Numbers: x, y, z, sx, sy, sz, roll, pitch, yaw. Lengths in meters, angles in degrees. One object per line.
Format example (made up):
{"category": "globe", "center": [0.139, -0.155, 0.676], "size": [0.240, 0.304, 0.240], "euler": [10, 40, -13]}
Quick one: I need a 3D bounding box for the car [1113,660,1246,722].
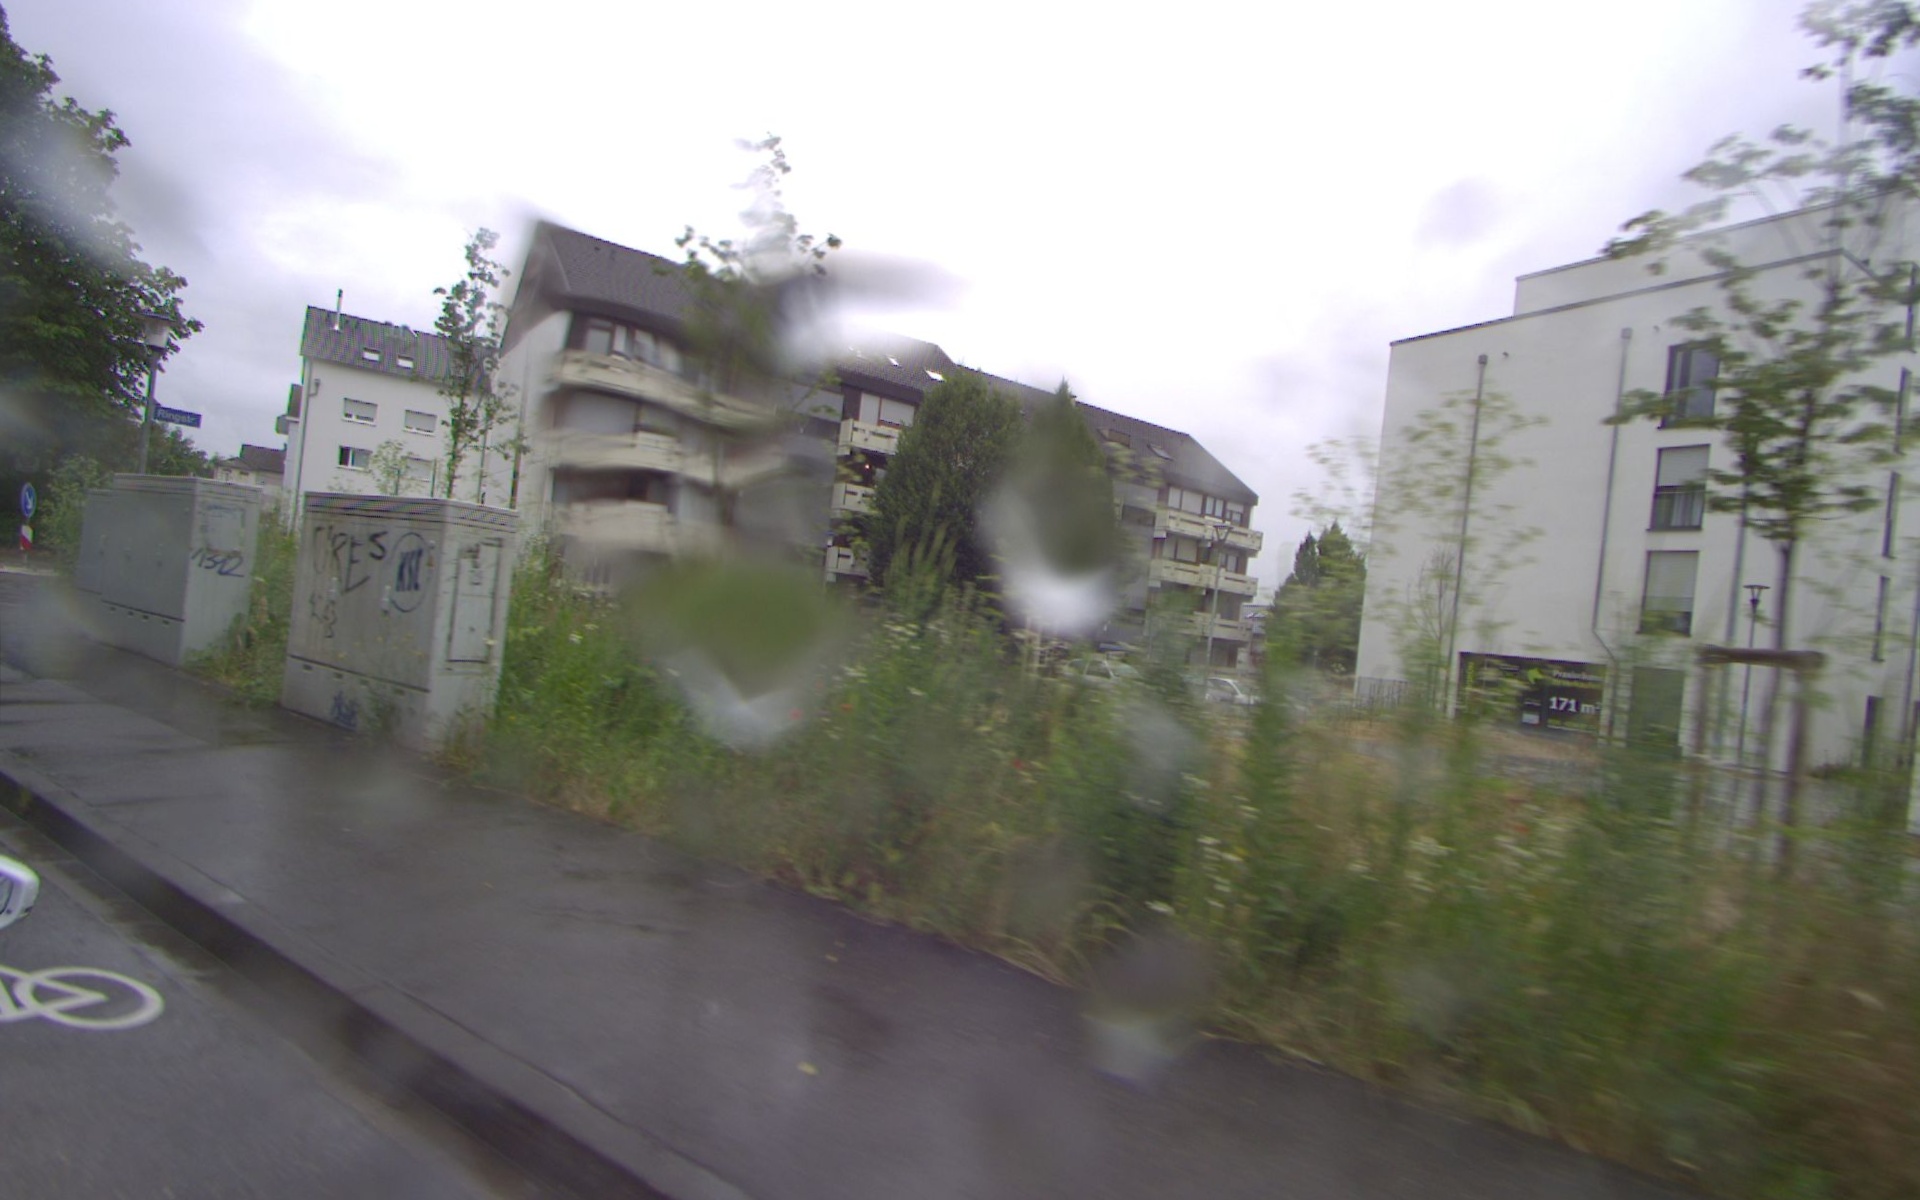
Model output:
{"category": "car", "center": [6.646, 2.747, 30.718], "size": [1.707, 1.457, 3.674], "euler": [8, -4, -35]}

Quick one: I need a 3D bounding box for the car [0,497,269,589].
{"category": "car", "center": [-19.840, -1.321, 24.474], "size": [4.557, 1.403, 1.937], "euler": [9, -1, -23]}

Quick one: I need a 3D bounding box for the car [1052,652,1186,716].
{"category": "car", "center": [4.586, 2.414, 29.418], "size": [1.707, 1.457, 3.674], "euler": [8, -4, -35]}

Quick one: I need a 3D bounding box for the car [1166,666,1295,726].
{"category": "car", "center": [8.615, 3.053, 32.297], "size": [1.707, 1.457, 3.674], "euler": [8, -4, -35]}
